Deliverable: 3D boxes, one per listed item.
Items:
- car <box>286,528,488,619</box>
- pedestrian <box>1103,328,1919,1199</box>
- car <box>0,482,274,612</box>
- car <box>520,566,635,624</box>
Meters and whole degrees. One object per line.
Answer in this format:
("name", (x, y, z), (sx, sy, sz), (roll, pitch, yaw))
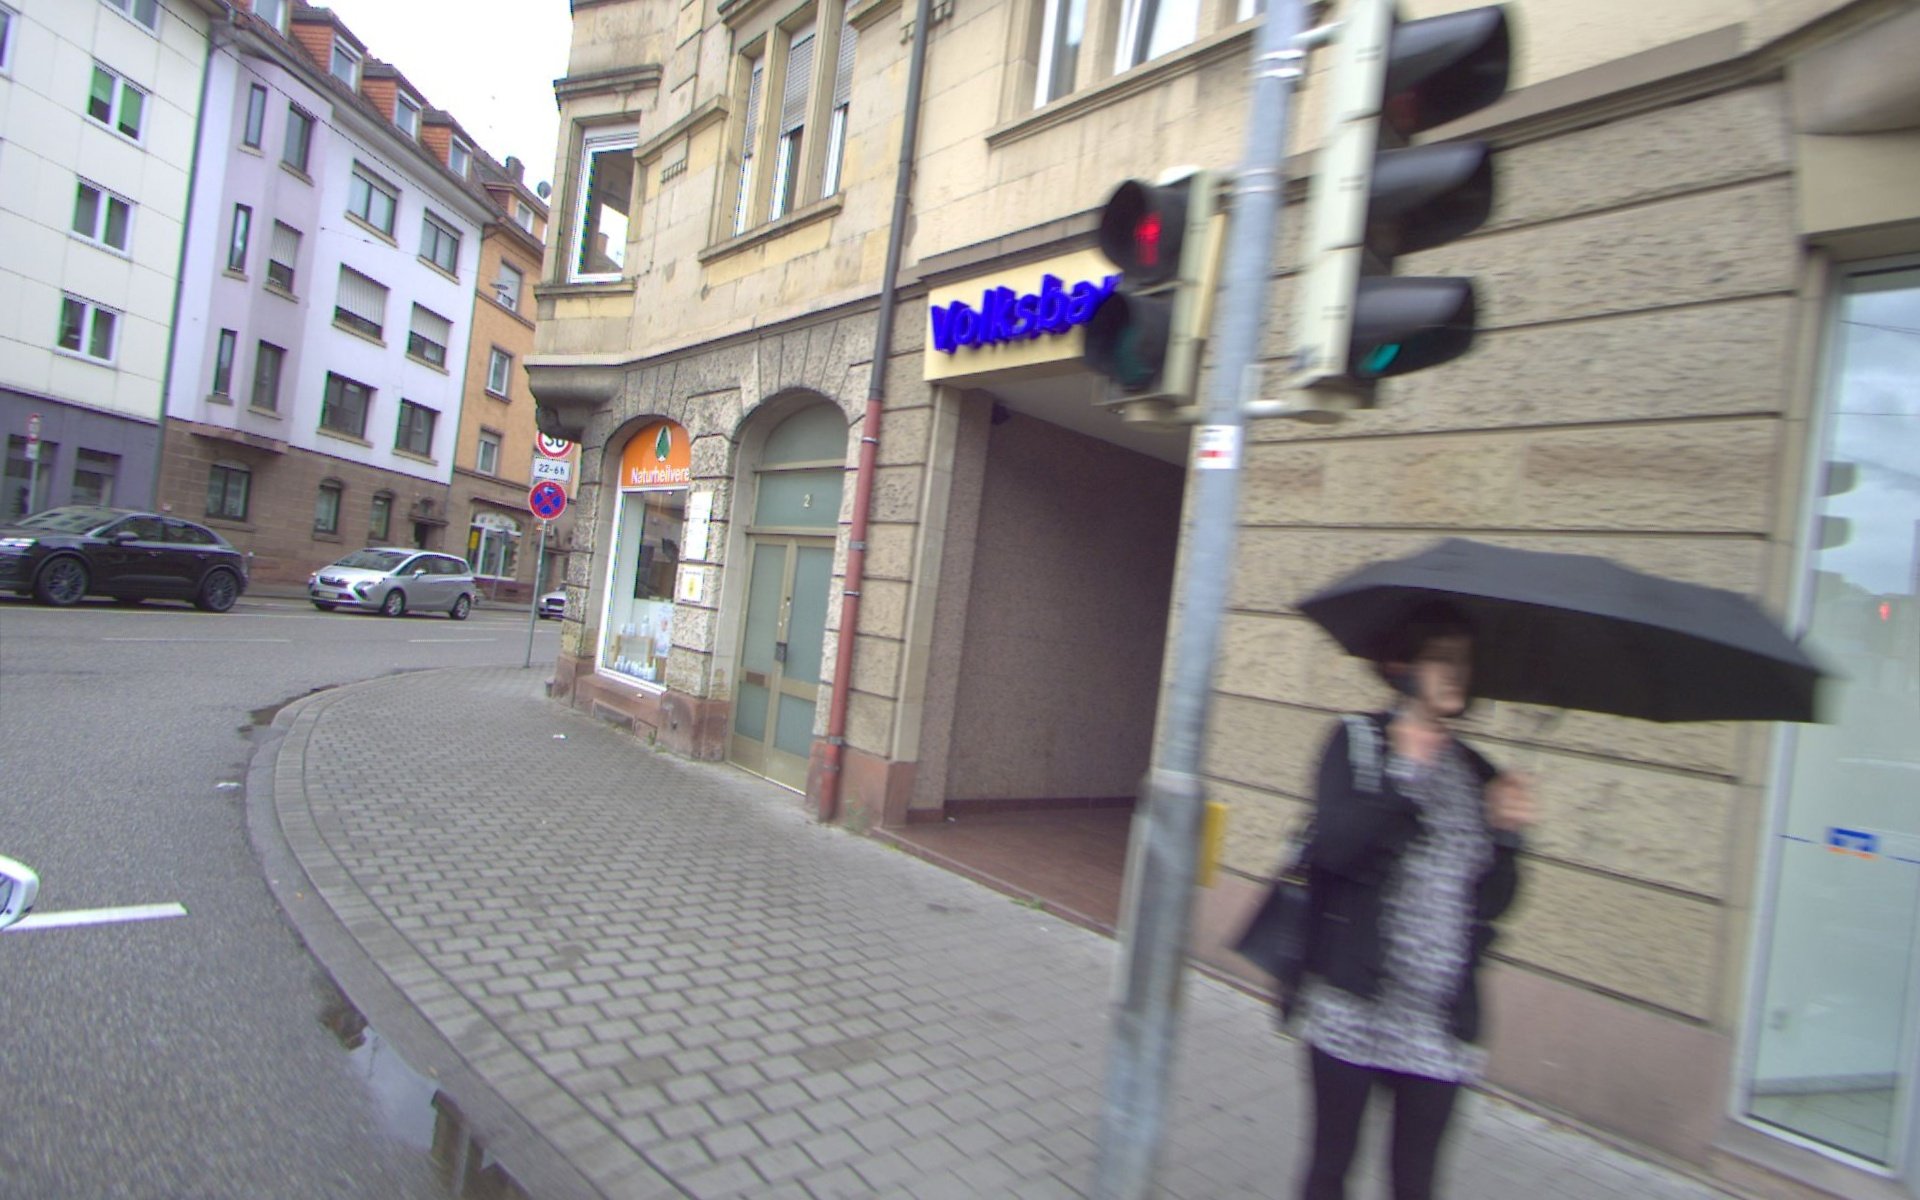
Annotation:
("car", (-13.676, -0.551, 24.384), (1.913, 1.704, 4.416), (7, -1, 5))
("pedestrian", (1.014, 0.628, 1.931), (1.008, 1.926, 1.058), (7, 0, 33))
("car", (-14.141, -0.818, 16.585), (1.962, 1.704, 4.830), (7, -1, 4))
("car", (-13.005, -0.121, 34.526), (1.913, 1.591, 4.238), (7, -1, 5))
